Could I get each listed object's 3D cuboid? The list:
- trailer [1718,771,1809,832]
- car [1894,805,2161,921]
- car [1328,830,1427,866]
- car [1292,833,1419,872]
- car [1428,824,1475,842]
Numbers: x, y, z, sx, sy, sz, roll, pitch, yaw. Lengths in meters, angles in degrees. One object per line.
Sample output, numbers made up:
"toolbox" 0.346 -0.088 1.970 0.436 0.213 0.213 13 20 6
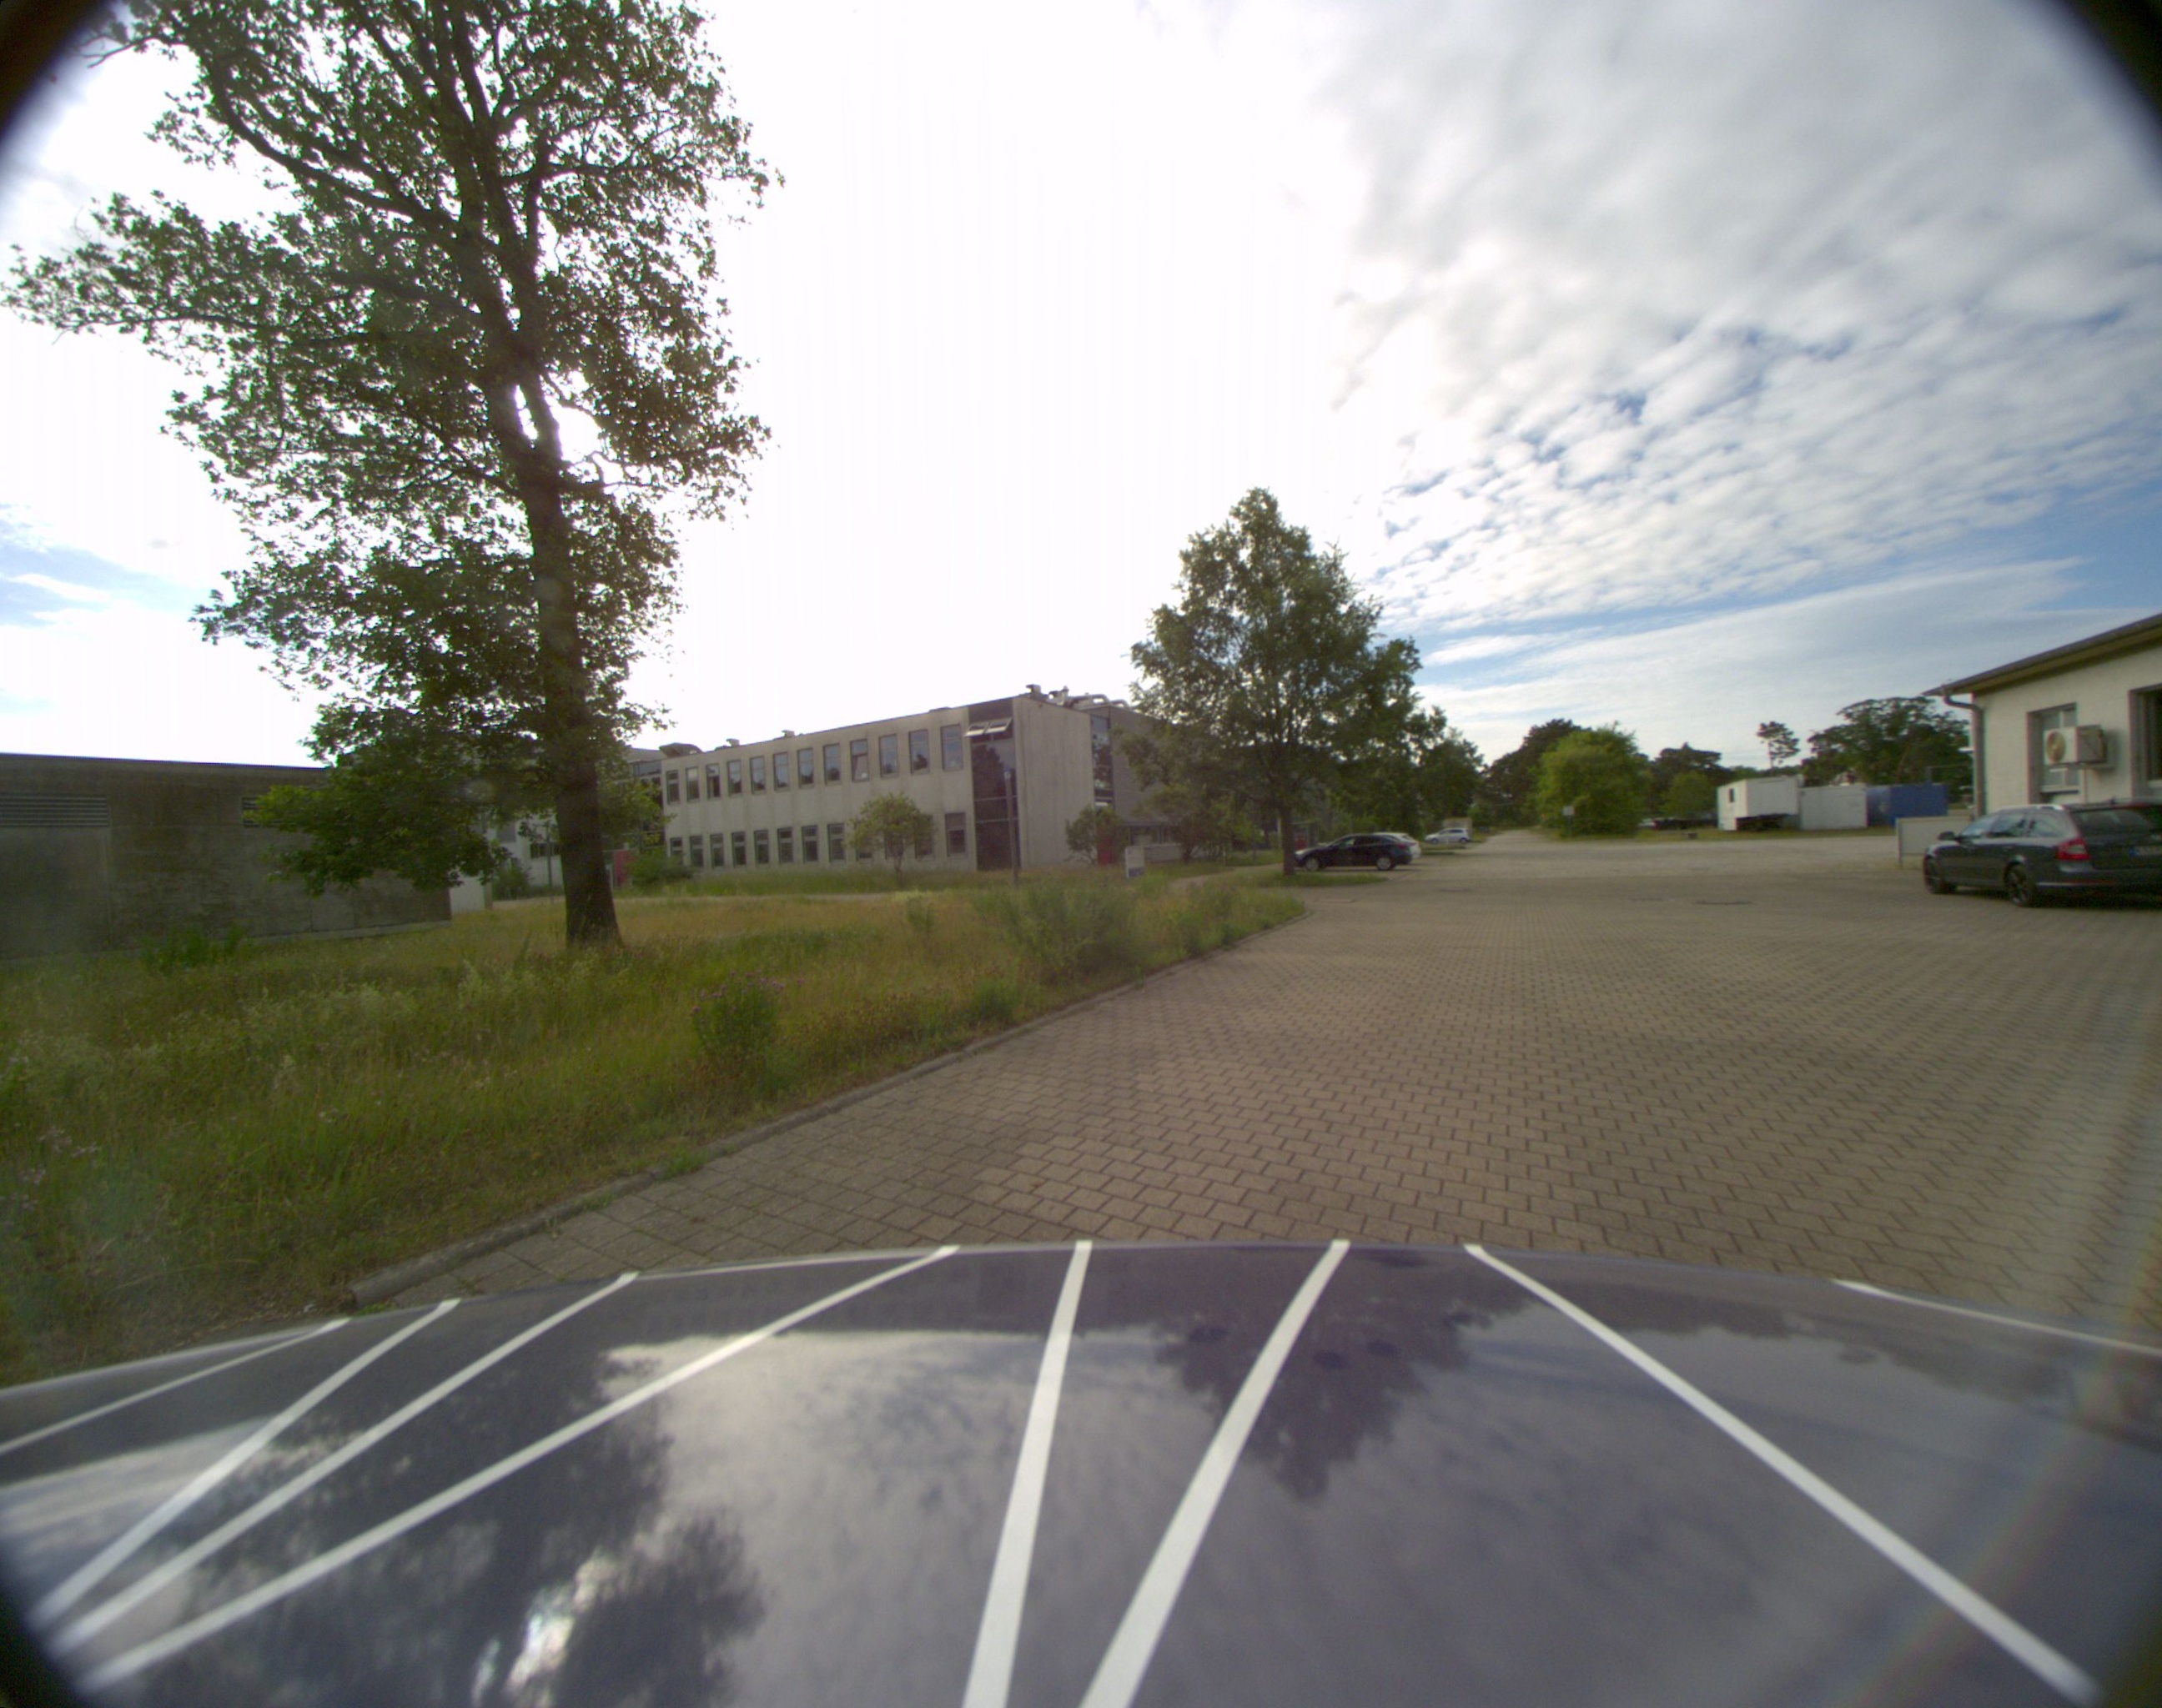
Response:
"trailer" 47.322 -3.513 53.006 2.870 3.641 10.795 -2 1 32
"car" 14.869 0.038 11.611 1.926 1.452 4.819 -2 1 29
"car" 13.602 -0.262 34.861 3.978 1.458 1.886 -2 1 30
"car" 10.935 -0.051 30.354 4.466 1.439 1.947 -1 2 30
"car" 36.565 -2.053 75.004 4.123 1.616 1.942 0 3 28
